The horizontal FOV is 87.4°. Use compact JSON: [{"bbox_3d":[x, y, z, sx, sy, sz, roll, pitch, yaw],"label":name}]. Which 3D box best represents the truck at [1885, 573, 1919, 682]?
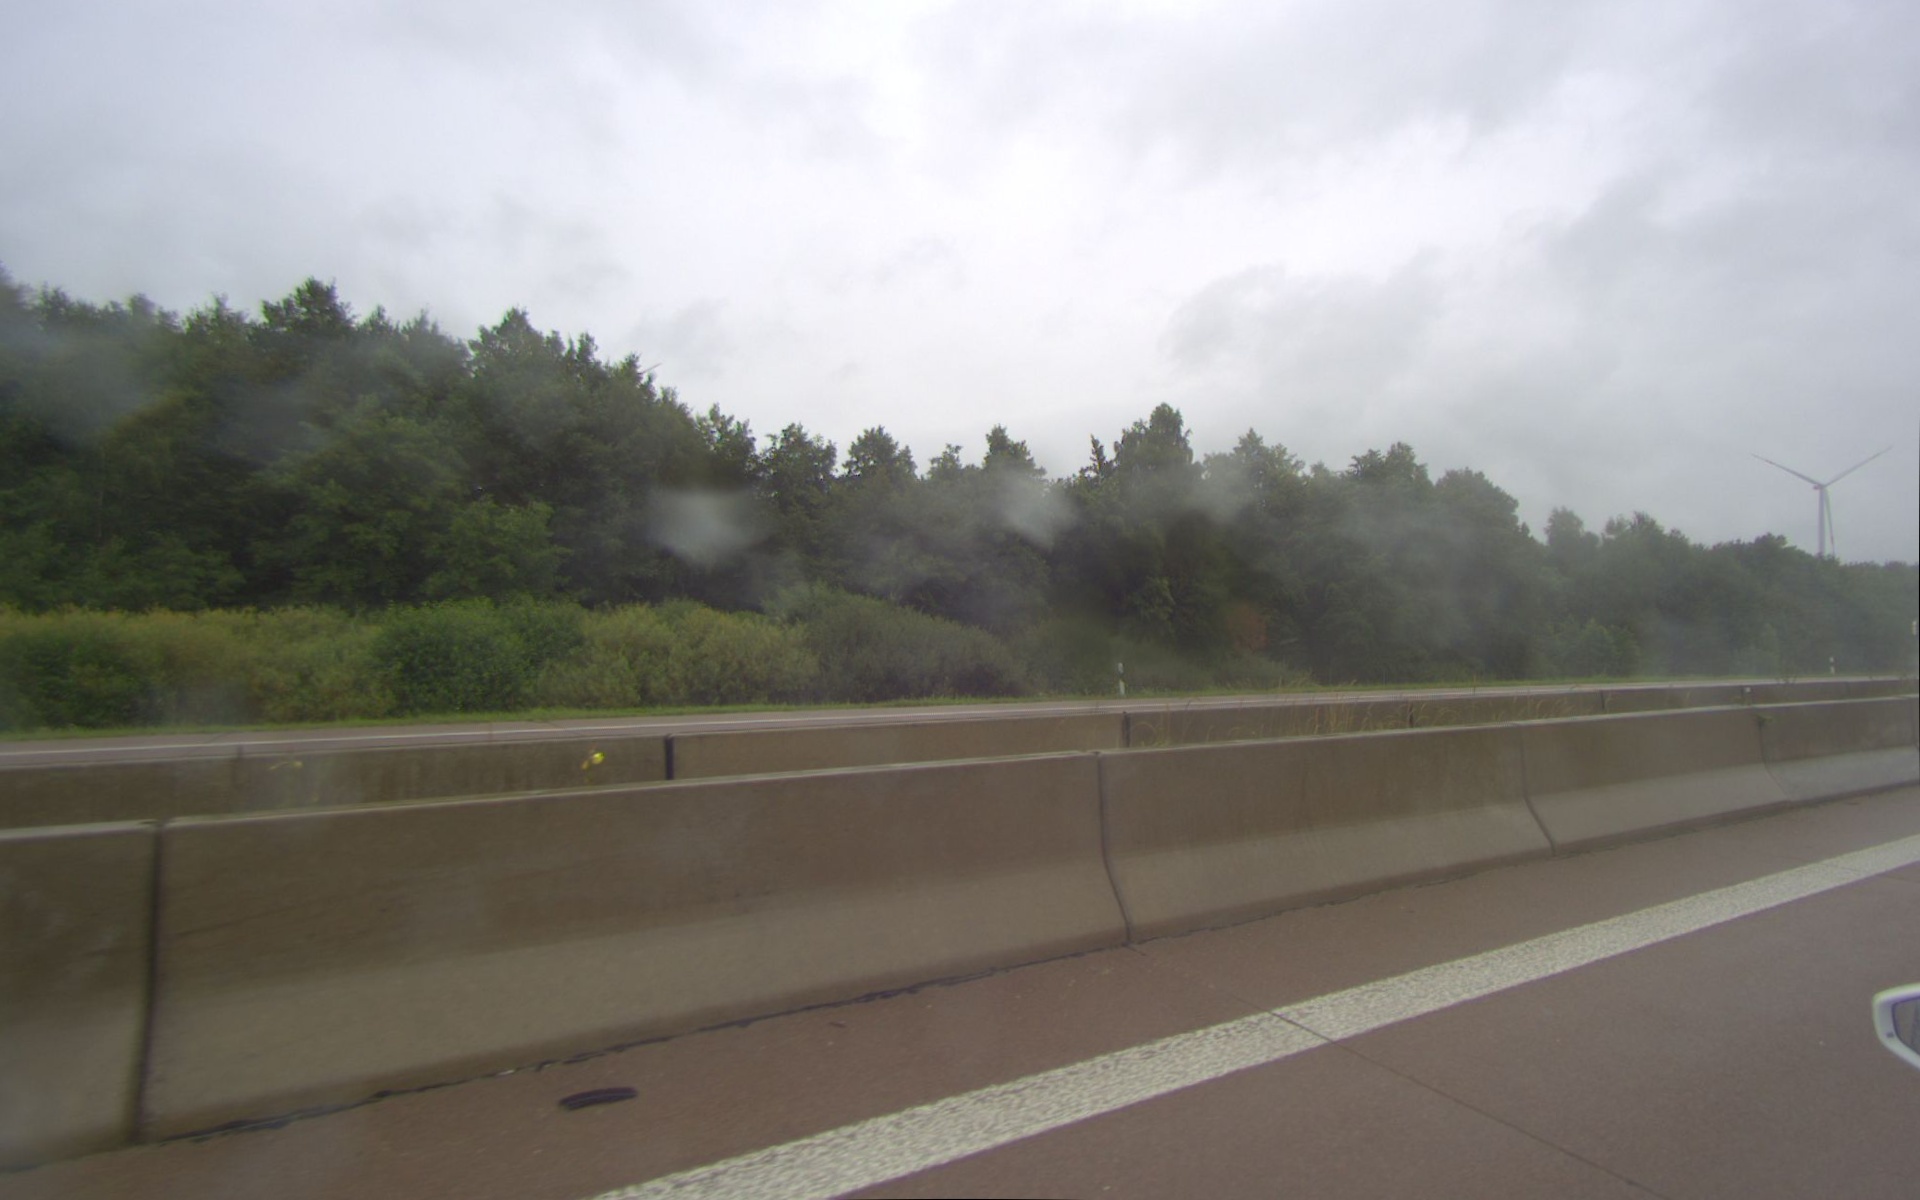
[{"bbox_3d":[51.463,1.475,51.797,8.066,5.450,3.401,2,0,-31],"label":"truck"}]
